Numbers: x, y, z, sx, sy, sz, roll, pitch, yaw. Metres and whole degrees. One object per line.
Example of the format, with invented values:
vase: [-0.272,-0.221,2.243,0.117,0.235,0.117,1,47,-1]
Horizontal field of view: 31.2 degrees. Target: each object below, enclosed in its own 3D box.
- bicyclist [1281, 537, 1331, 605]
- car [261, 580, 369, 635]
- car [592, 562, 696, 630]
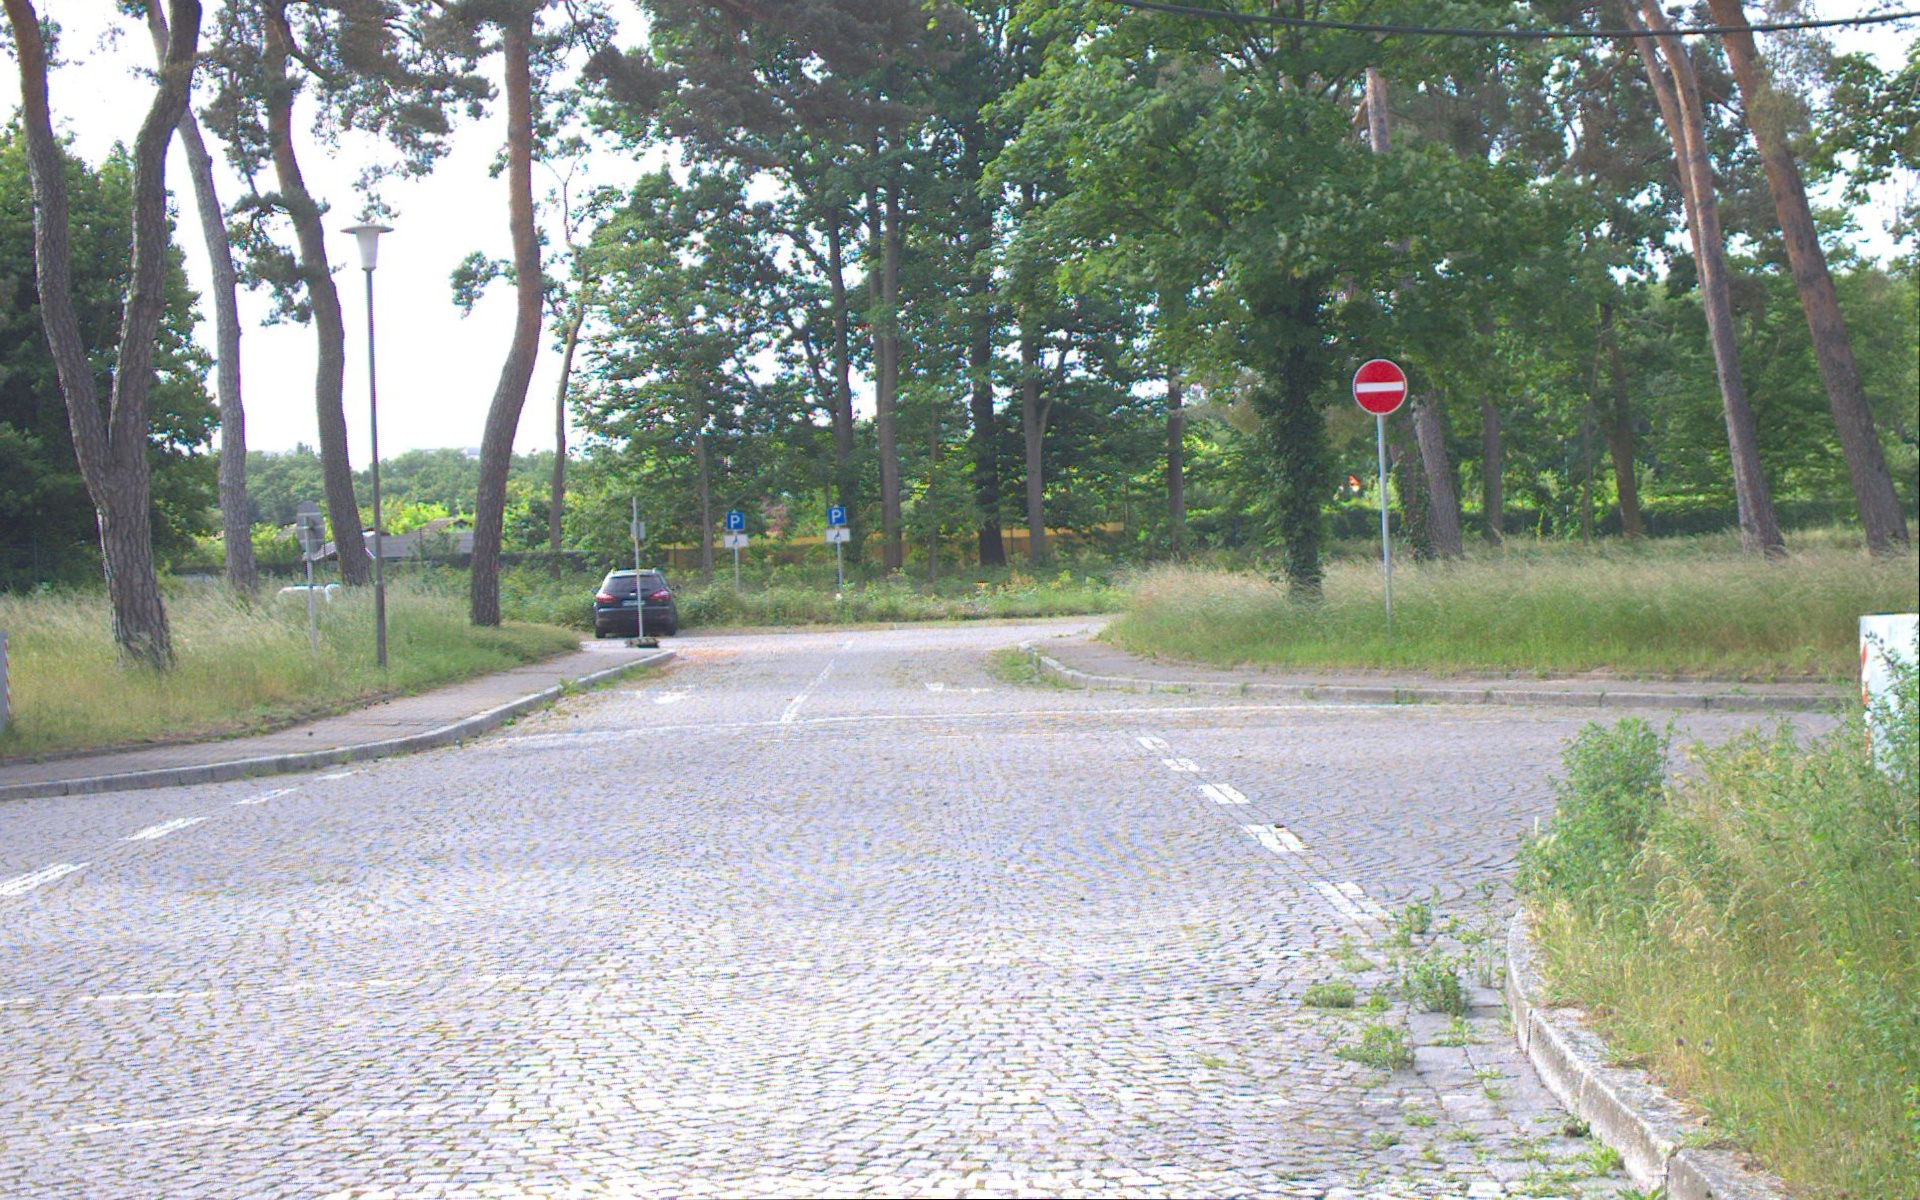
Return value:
bicyclist: [7.952,-0.669,79.012,0.974,1.505,0.807,-2,1,-4]
car: [-15.027,0.166,80.261,1.689,1.152,4.000,-2,1,0]
car: [-7.230,-0.119,79.086,1.993,1.503,4.000,0,1,0]
